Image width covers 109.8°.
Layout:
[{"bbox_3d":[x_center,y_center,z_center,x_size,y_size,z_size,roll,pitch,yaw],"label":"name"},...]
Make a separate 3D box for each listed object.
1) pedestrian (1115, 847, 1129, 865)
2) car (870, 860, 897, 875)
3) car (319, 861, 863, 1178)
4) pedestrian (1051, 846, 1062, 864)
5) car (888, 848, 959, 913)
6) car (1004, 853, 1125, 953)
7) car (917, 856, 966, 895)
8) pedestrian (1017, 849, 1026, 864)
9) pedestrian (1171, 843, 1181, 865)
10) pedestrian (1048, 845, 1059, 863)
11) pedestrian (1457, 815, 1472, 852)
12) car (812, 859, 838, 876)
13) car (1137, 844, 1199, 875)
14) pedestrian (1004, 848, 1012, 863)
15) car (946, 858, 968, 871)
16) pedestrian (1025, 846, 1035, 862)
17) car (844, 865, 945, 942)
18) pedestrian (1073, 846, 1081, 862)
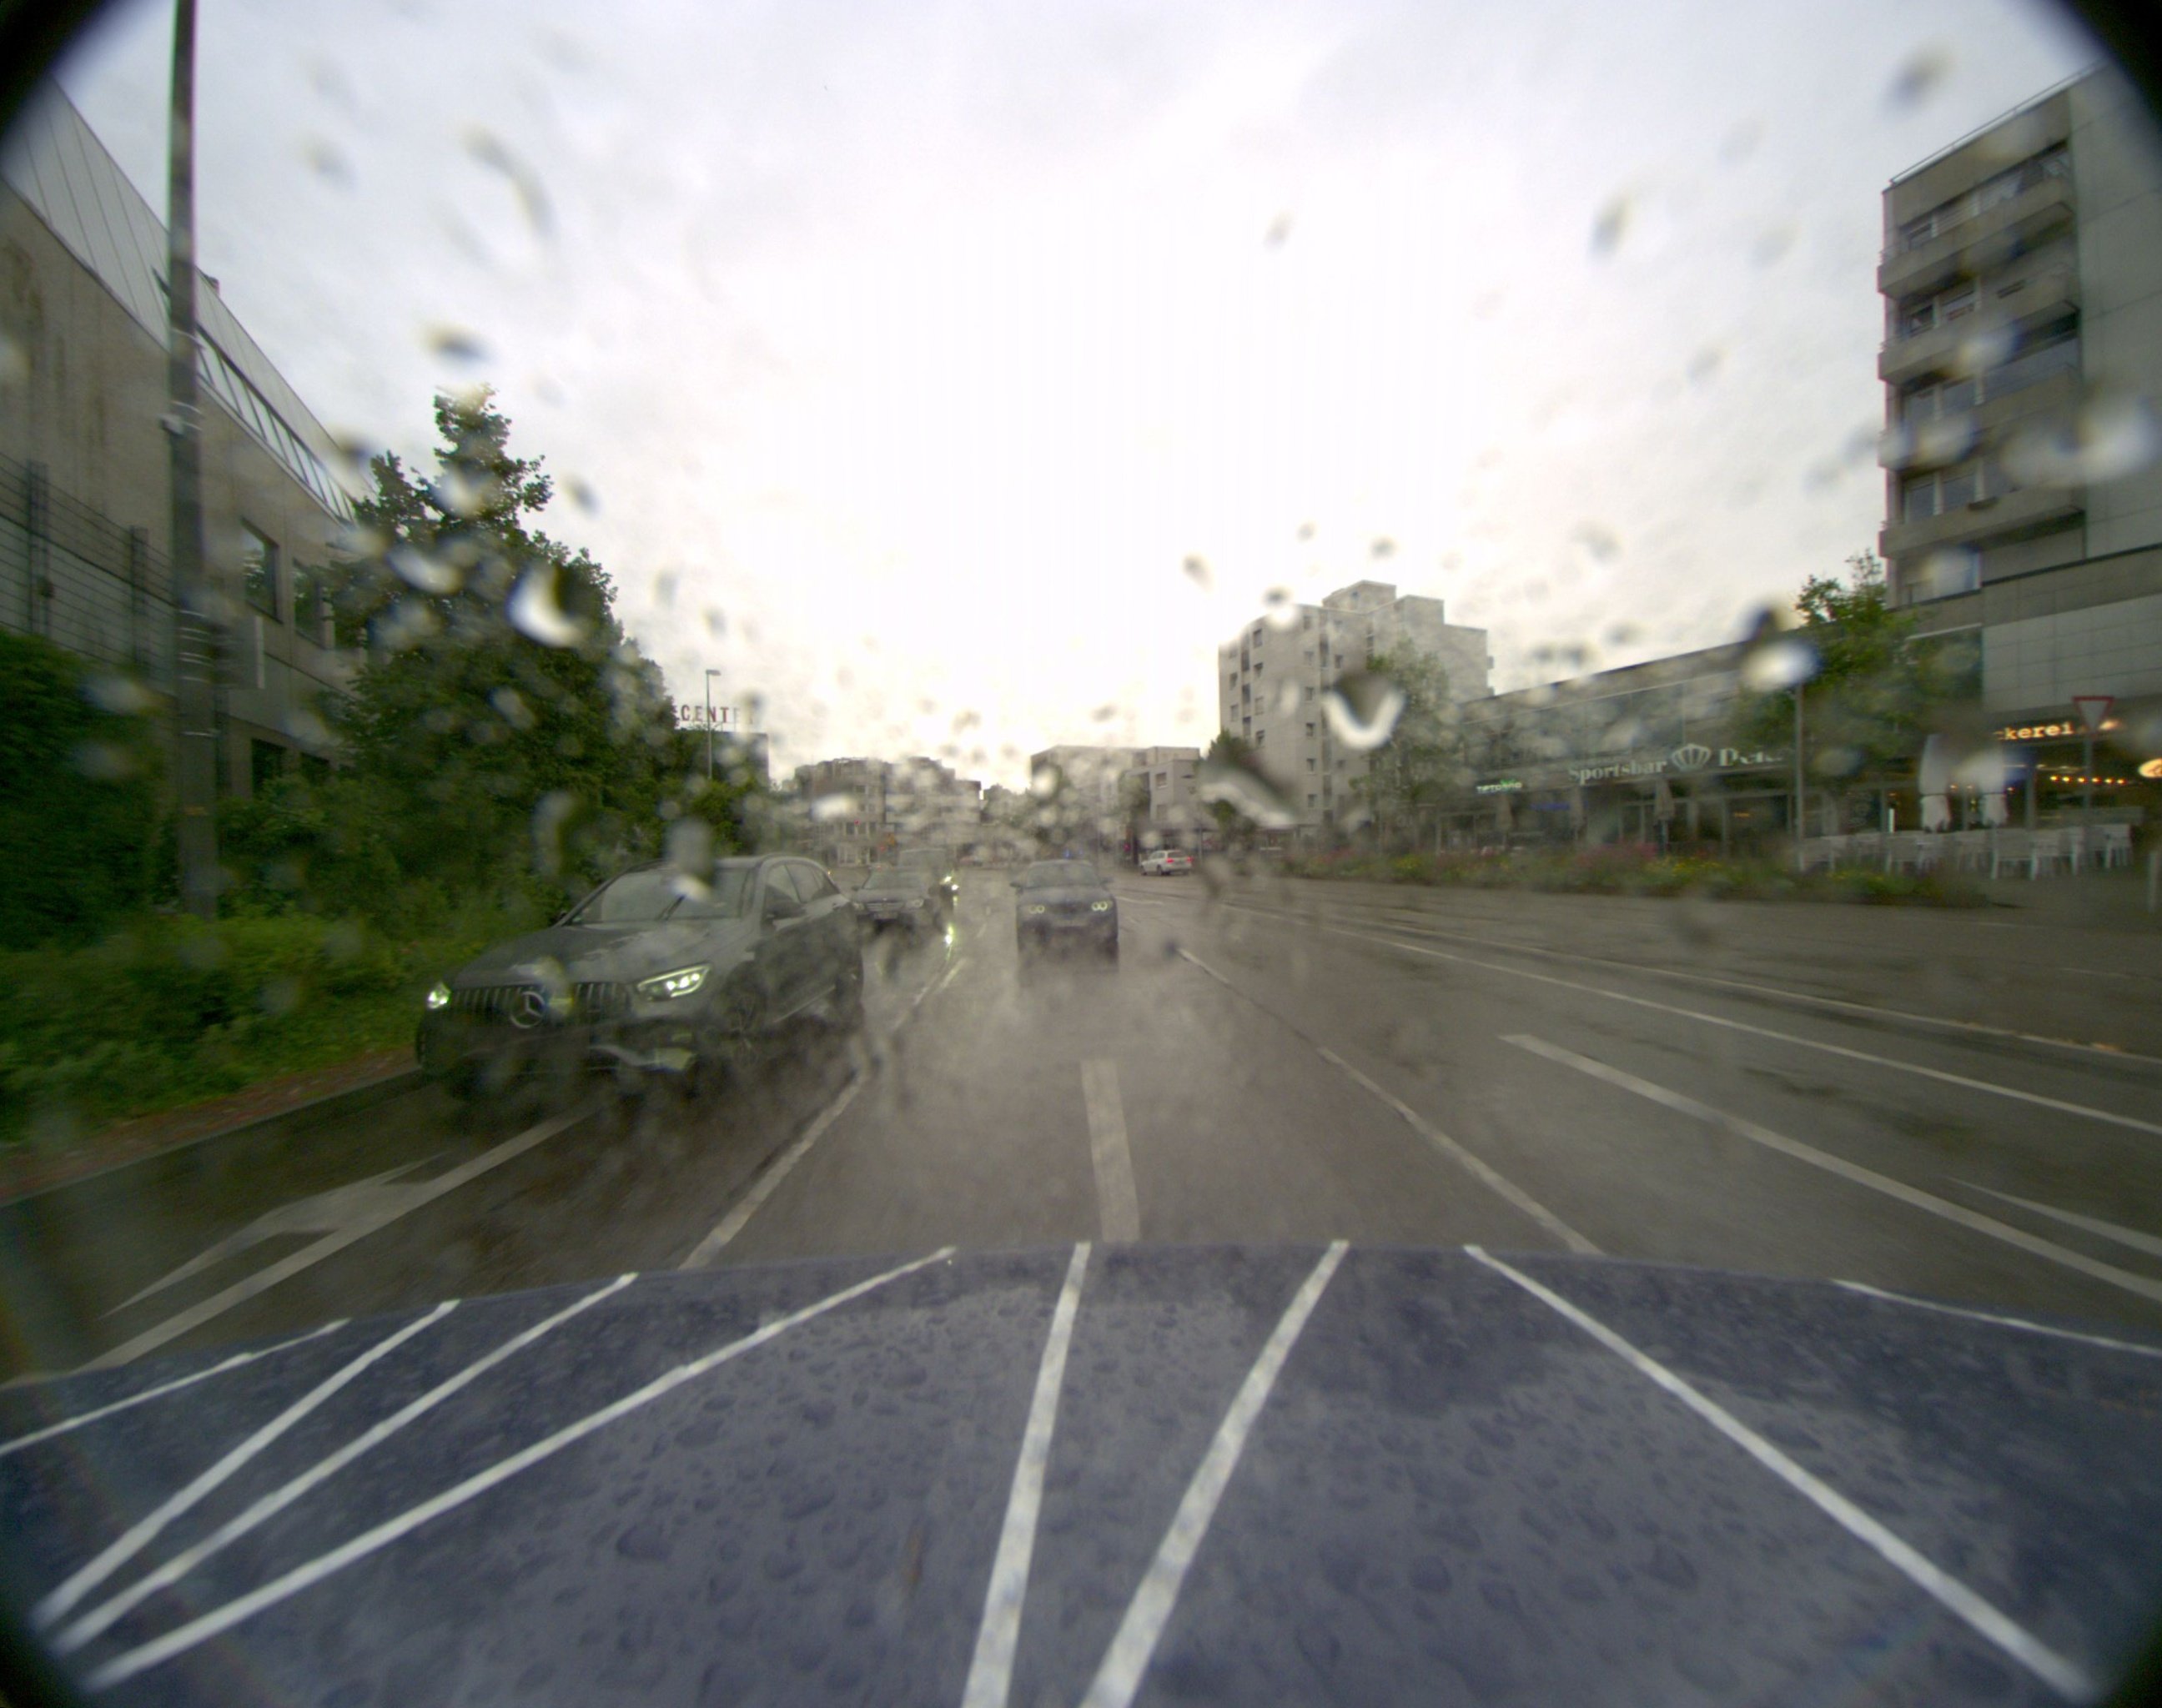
[{"bbox_3d":[3.823,0.184,71.403,1.011,1.636,0.725,-3,1,-24],"label":"pedestrian"},{"bbox_3d":[-21.407,1.458,82.331,1.766,1.443,3.991,-2,0,-30],"label":"car"},{"bbox_3d":[-3.339,0.938,6.418,1.906,1.611,4.333,-2,1,-4],"label":"car"},{"bbox_3d":[-2.729,0.124,85.144,0.907,2.002,0.976,-2,1,-24],"label":"pedestrian"},{"bbox_3d":[-5.168,0.789,25.470,2.002,1.883,4.582,-3,1,-9],"label":"car"},{"bbox_3d":[-0.152,0.787,14.049,1.675,1.534,3.915,-2,0,6],"label":"car"},{"bbox_3d":[-6.192,0.909,34.081,1.763,1.540,4.324,-3,1,-6],"label":"car"},{"bbox_3d":[-7.238,0.306,92.523,0.906,1.904,0.976,-2,1,-17],"label":"pedestrian"},{"bbox_3d":[7.294,0.015,58.154,0.537,1.650,0.479,-2,1,-18],"label":"pedestrian"},{"bbox_3d":[-3.087,0.032,84.794,0.907,2.002,0.976,-2,1,-24],"label":"pedestrian"},{"bbox_3d":[19.217,-1.032,38.096,0.427,1.837,0.500,-2,1,-13],"label":"pedestrian"},{"bbox_3d":[-25.809,1.368,76.525,1.741,1.587,3.991,-2,1,-29],"label":"car"},{"bbox_3d":[5.061,0.304,44.859,1.893,1.673,4.498,-3,1,-17],"label":"car"},{"bbox_3d":[-10.166,0.180,105.889,0.762,2.002,0.862,-2,1,-25],"label":"pedestrian"},{"bbox_3d":[-14.605,1.213,89.004,1.764,1.418,3.994,-2,0,-20],"label":"car"},{"bbox_3d":[-6.214,0.006,92.464,0.907,1.904,0.976,-2,1,-24],"label":"pedestrian"},{"bbox_3d":[-4.121,1.014,17.415,1.637,1.378,4.512,-2,1,-7],"label":"car"},{"bbox_3d":[-0.449,-0.017,84.986,0.550,1.740,0.679,-2,1,-22],"label":"pedestrian"}]
